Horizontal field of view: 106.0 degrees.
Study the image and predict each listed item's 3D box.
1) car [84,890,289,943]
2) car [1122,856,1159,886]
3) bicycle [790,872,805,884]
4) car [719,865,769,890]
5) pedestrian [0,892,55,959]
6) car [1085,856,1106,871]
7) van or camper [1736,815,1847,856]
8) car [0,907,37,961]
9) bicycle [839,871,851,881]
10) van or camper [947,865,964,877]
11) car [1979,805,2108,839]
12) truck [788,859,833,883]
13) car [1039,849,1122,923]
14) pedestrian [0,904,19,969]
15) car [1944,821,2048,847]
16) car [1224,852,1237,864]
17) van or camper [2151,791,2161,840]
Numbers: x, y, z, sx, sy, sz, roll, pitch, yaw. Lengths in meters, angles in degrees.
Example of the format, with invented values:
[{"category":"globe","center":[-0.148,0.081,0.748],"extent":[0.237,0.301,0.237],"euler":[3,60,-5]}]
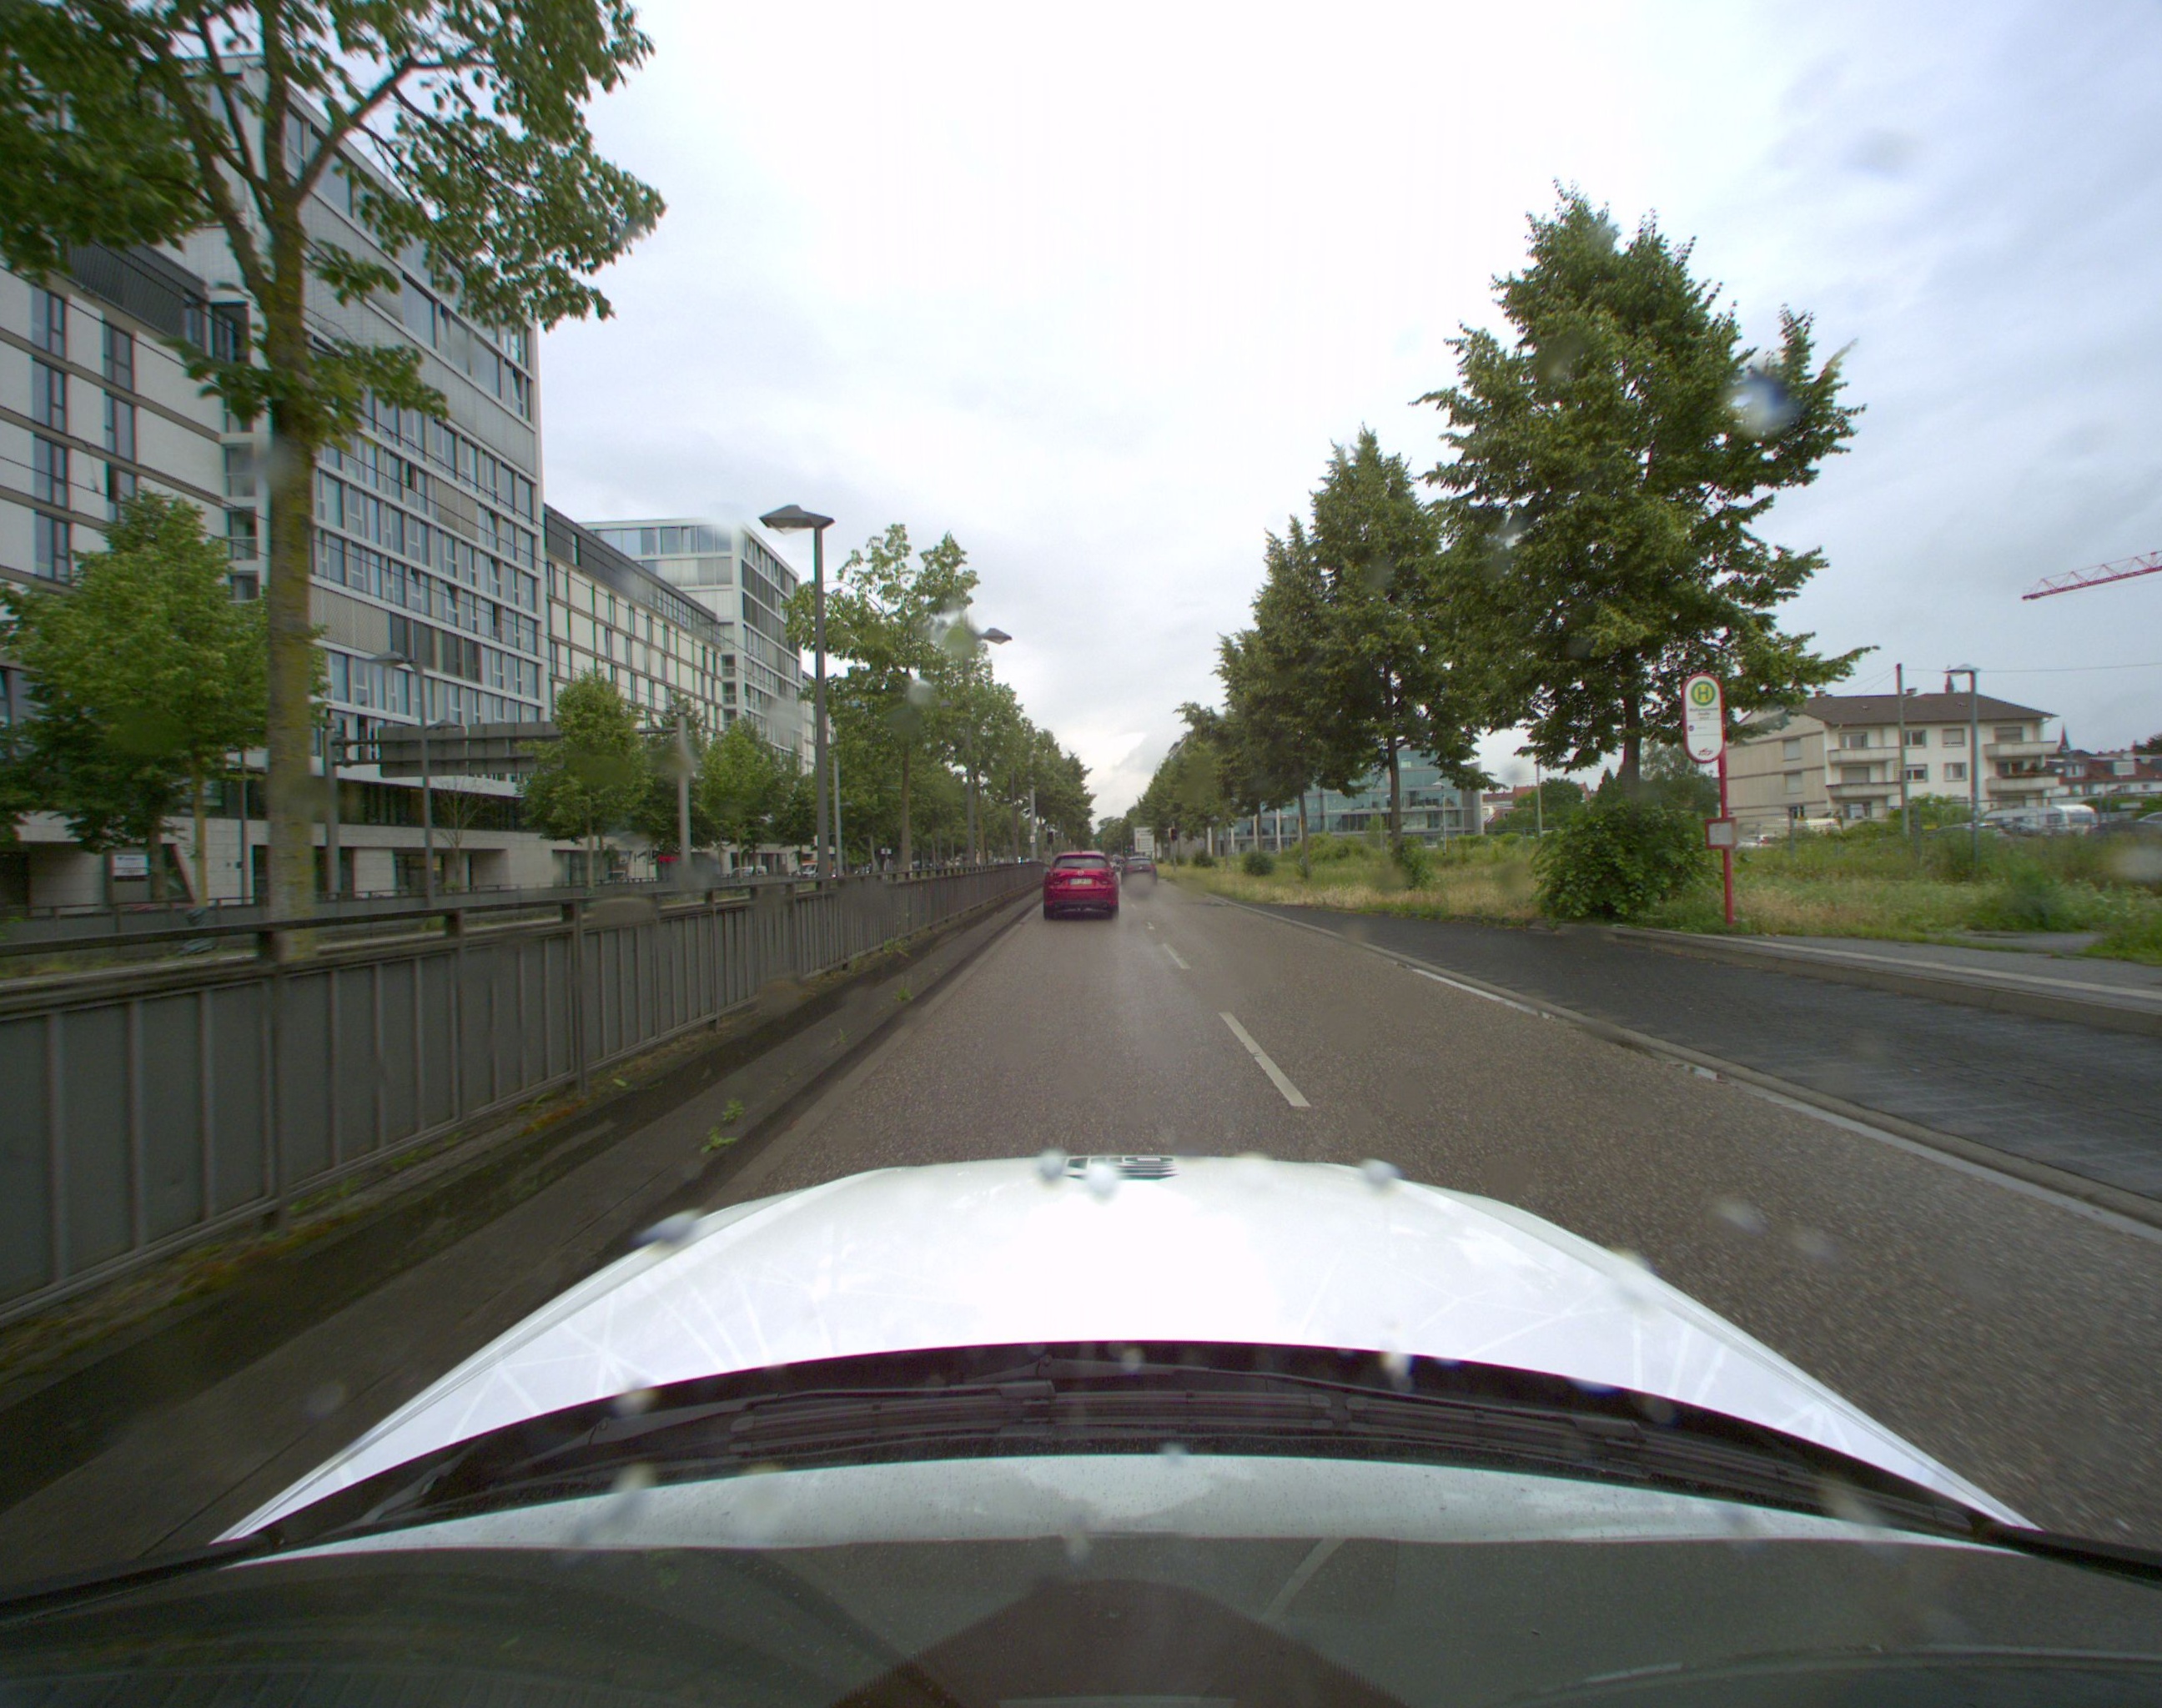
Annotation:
[{"category":"car","center":[-27.577,1.879,25.316],"extent":[1.986,1.288,3.862],"euler":[-2,0,2]},{"category":"car","center":[3.083,0.846,42.725],"extent":[1.737,1.465,3.782],"euler":[-2,0,1]},{"category":"bicycle","center":[-36.315,3.041,104.270],"extent":[1.698,1.538,0.681],"euler":[-2,-1,-1]},{"category":"car","center":[-27.948,1.932,67.759],"extent":[1.987,1.852,5.164],"euler":[-2,0,0]},{"category":"pedestrian","center":[-28.093,1.877,21.615],"extent":[0.708,1.691,0.793],"euler":[-2,-1,3]},{"category":"car","center":[1.444,0.962,80.789],"extent":[1.961,1.437,4.550],"euler":[-1,0,-1]},{"category":"van or camper","center":[51.624,-1.282,59.439],"extent":[2.302,2.689,6.392],"euler":[-2,-1,-2]},{"category":"car","center":[-27.497,1.989,18.600],"extent":[1.986,1.288,4.072],"euler":[-2,-1,2]},{"category":"bicycle","center":[-25.609,2.380,88.360],"extent":[0.596,0.945,1.759],"euler":[-2,0,4]},{"category":"van or camper","center":[-26.274,3.489,170.840],"extent":[2.425,2.315,5.850],"euler":[-2,0,1]},{"category":"car","center":[62.884,-2.062,53.380],"extent":[2.157,1.894,5.200],"euler":[-2,-1,-3]},{"category":"truck","center":[-28.010,1.751,84.626],"extent":[2.418,2.291,6.308],"euler":[-2,0,0]},{"category":"car","center":[-0.007,0.750,21.044],"extent":[1.892,1.677,3.999],"euler":[-2,0,0]},{"category":"pedestrian","center":[-28.864,2.188,21.447],"extent":[0.708,1.691,0.793],"euler":[-2,-1,3]},{"category":"car","center":[54.303,-1.148,48.470],"extent":[1.690,1.352,4.033],"euler":[-2,-1,1]},{"category":"car","center":[23.158,0.625,126.124],"extent":[1.845,1.581,4.007],"euler":[-1,-5,8]},{"category":"van or camper","center":[52.646,-1.864,35.752],"extent":[2.496,2.307,6.643],"euler":[0,-1,-2]}]
